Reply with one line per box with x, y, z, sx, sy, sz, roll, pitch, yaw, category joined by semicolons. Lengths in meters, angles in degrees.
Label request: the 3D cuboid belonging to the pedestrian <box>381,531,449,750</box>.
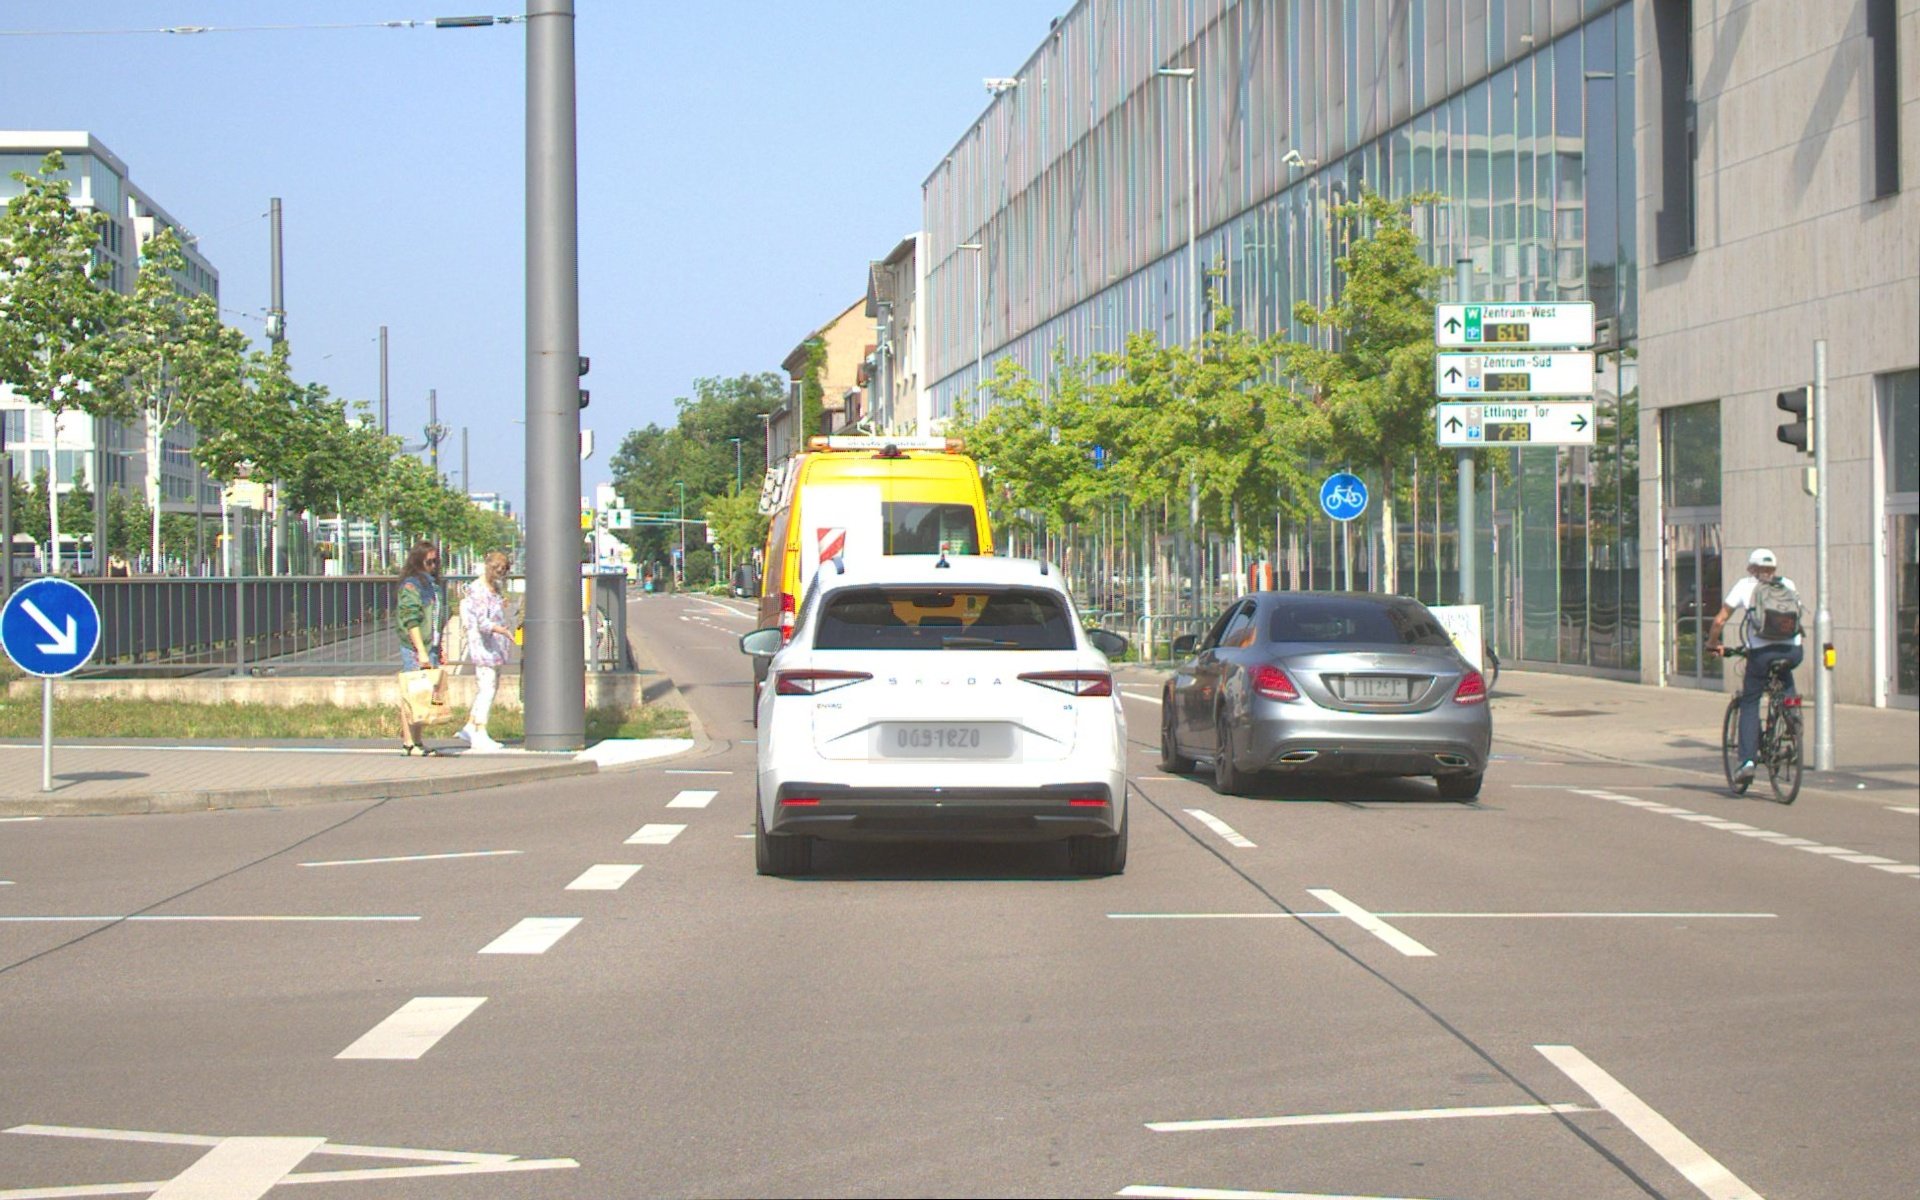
-4.137;0.298;26.112;0.467;1.644;0.777;0;1;-6;pedestrian

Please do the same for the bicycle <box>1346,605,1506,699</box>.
5.774;0.636;42.671;1.839;1.109;0.687;1;1;-4;bicycle

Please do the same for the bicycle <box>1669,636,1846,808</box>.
5.633;0.838;24.387;0.661;1.113;2.051;0;1;-3;bicycle

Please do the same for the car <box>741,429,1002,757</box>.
-0.921;-0.119;32.036;2.020;2.786;5.402;0;1;-6;car

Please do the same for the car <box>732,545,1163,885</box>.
-0.182;0.517;18.004;1.869;1.569;4.001;0;0;-6;car

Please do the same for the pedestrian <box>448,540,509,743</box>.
-3.951;0.334;28.213;0.467;1.644;0.777;0;1;-6;pedestrian

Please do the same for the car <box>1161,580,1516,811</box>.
2.587;0.614;24.423;1.760;1.431;4.116;1;1;-4;car

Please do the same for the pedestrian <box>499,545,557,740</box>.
-3.688;0.351;29.367;0.467;1.644;0.777;0;1;-6;pedestrian

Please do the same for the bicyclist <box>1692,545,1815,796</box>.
5.617;0.487;24.358;0.651;1.743;0.769;0;1;-3;bicyclist

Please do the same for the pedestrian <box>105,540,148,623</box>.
-16.119;-0.358;66.494;0.735;1.613;0.711;0;0;-7;pedestrian
